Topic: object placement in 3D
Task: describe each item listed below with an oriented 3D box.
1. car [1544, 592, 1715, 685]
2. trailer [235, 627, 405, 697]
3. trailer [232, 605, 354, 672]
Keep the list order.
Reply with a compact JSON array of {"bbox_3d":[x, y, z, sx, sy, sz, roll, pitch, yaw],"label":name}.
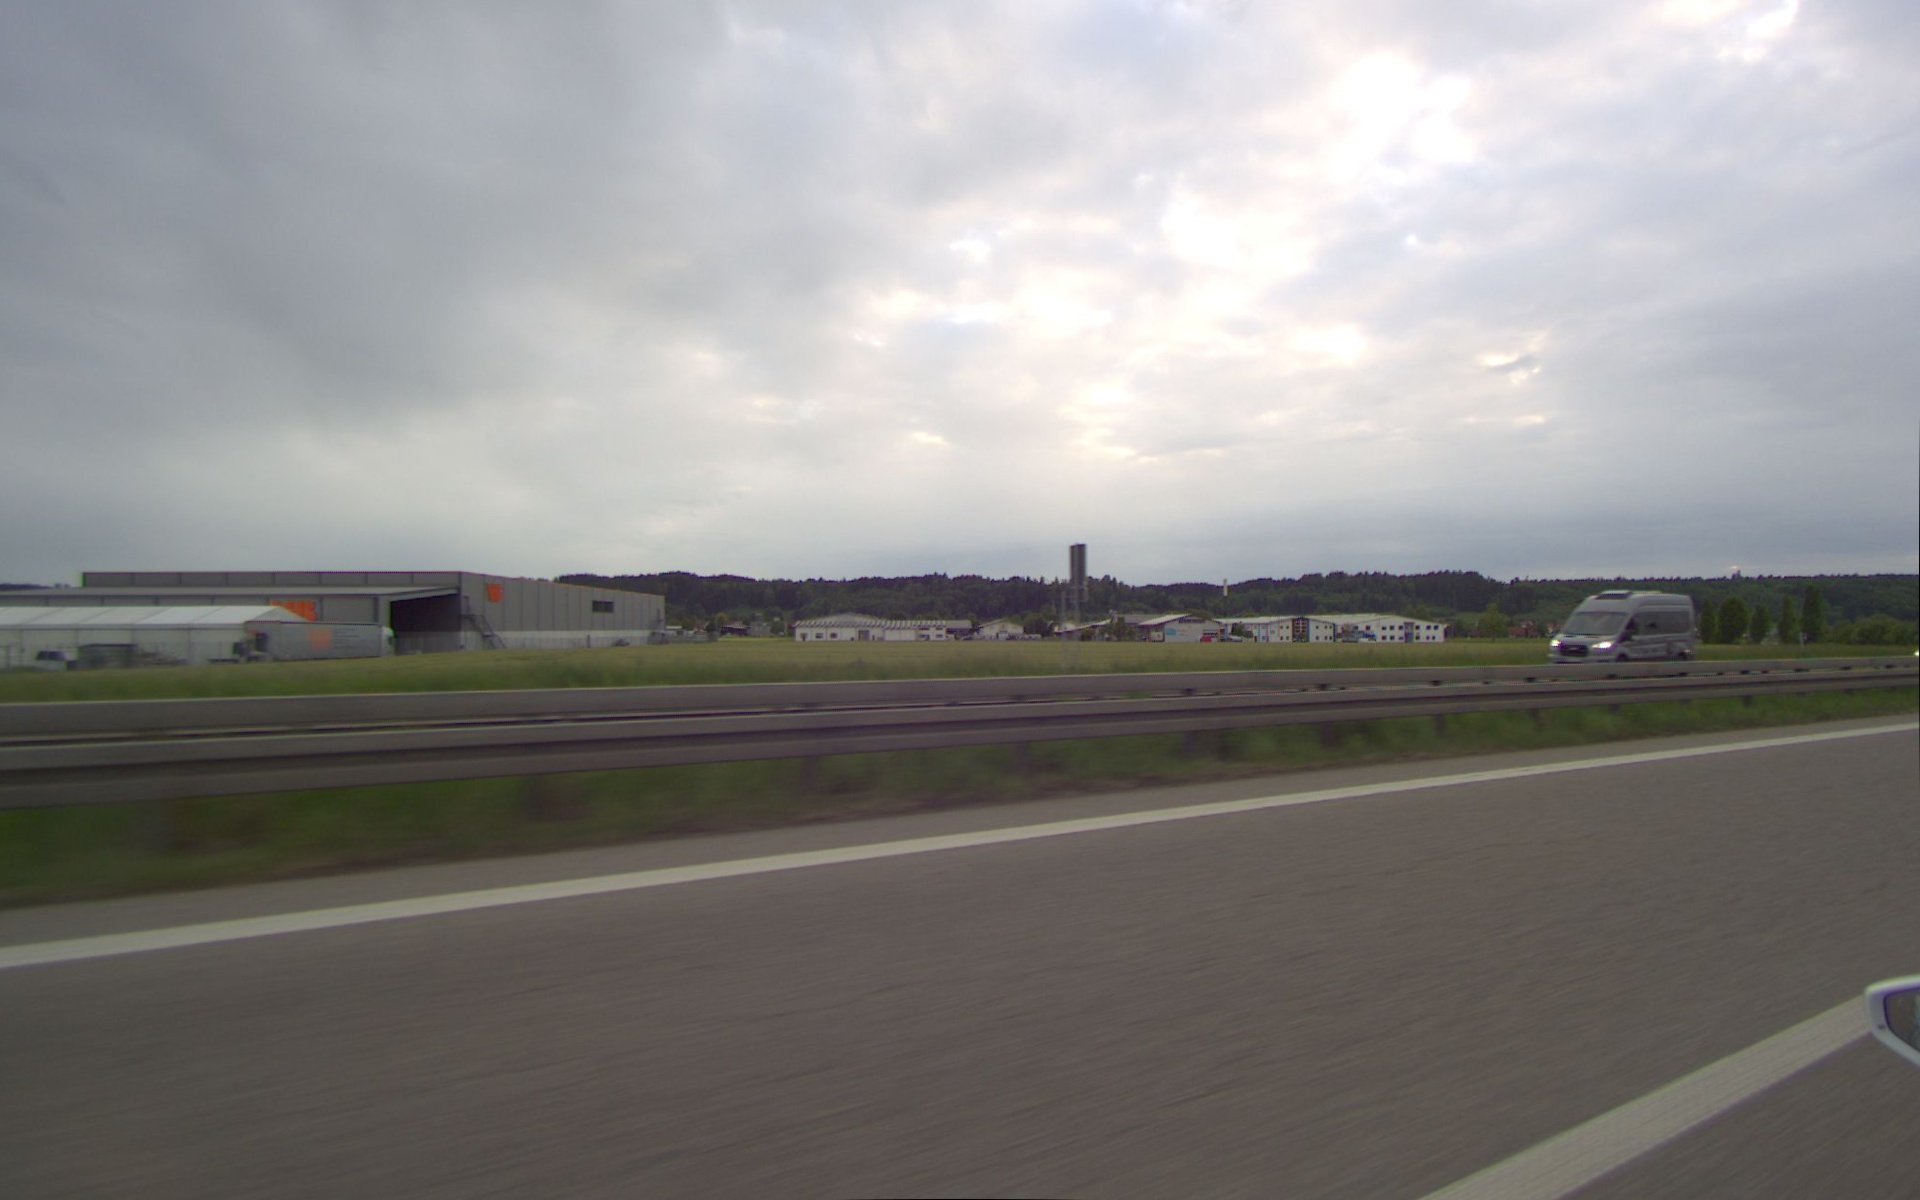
[{"bbox_3d":[22.152,1.236,33.140,6.352,2.838,2.096,1,0,-30],"label":"car"},{"bbox_3d":[-52.618,5.048,83.781,3.500,5.202,17.037,1,-3,-1],"label":"trailer"},{"bbox_3d":[-56.689,3.373,85.797,3.681,5.329,10.083,1,-3,-1],"label":"trailer"}]
